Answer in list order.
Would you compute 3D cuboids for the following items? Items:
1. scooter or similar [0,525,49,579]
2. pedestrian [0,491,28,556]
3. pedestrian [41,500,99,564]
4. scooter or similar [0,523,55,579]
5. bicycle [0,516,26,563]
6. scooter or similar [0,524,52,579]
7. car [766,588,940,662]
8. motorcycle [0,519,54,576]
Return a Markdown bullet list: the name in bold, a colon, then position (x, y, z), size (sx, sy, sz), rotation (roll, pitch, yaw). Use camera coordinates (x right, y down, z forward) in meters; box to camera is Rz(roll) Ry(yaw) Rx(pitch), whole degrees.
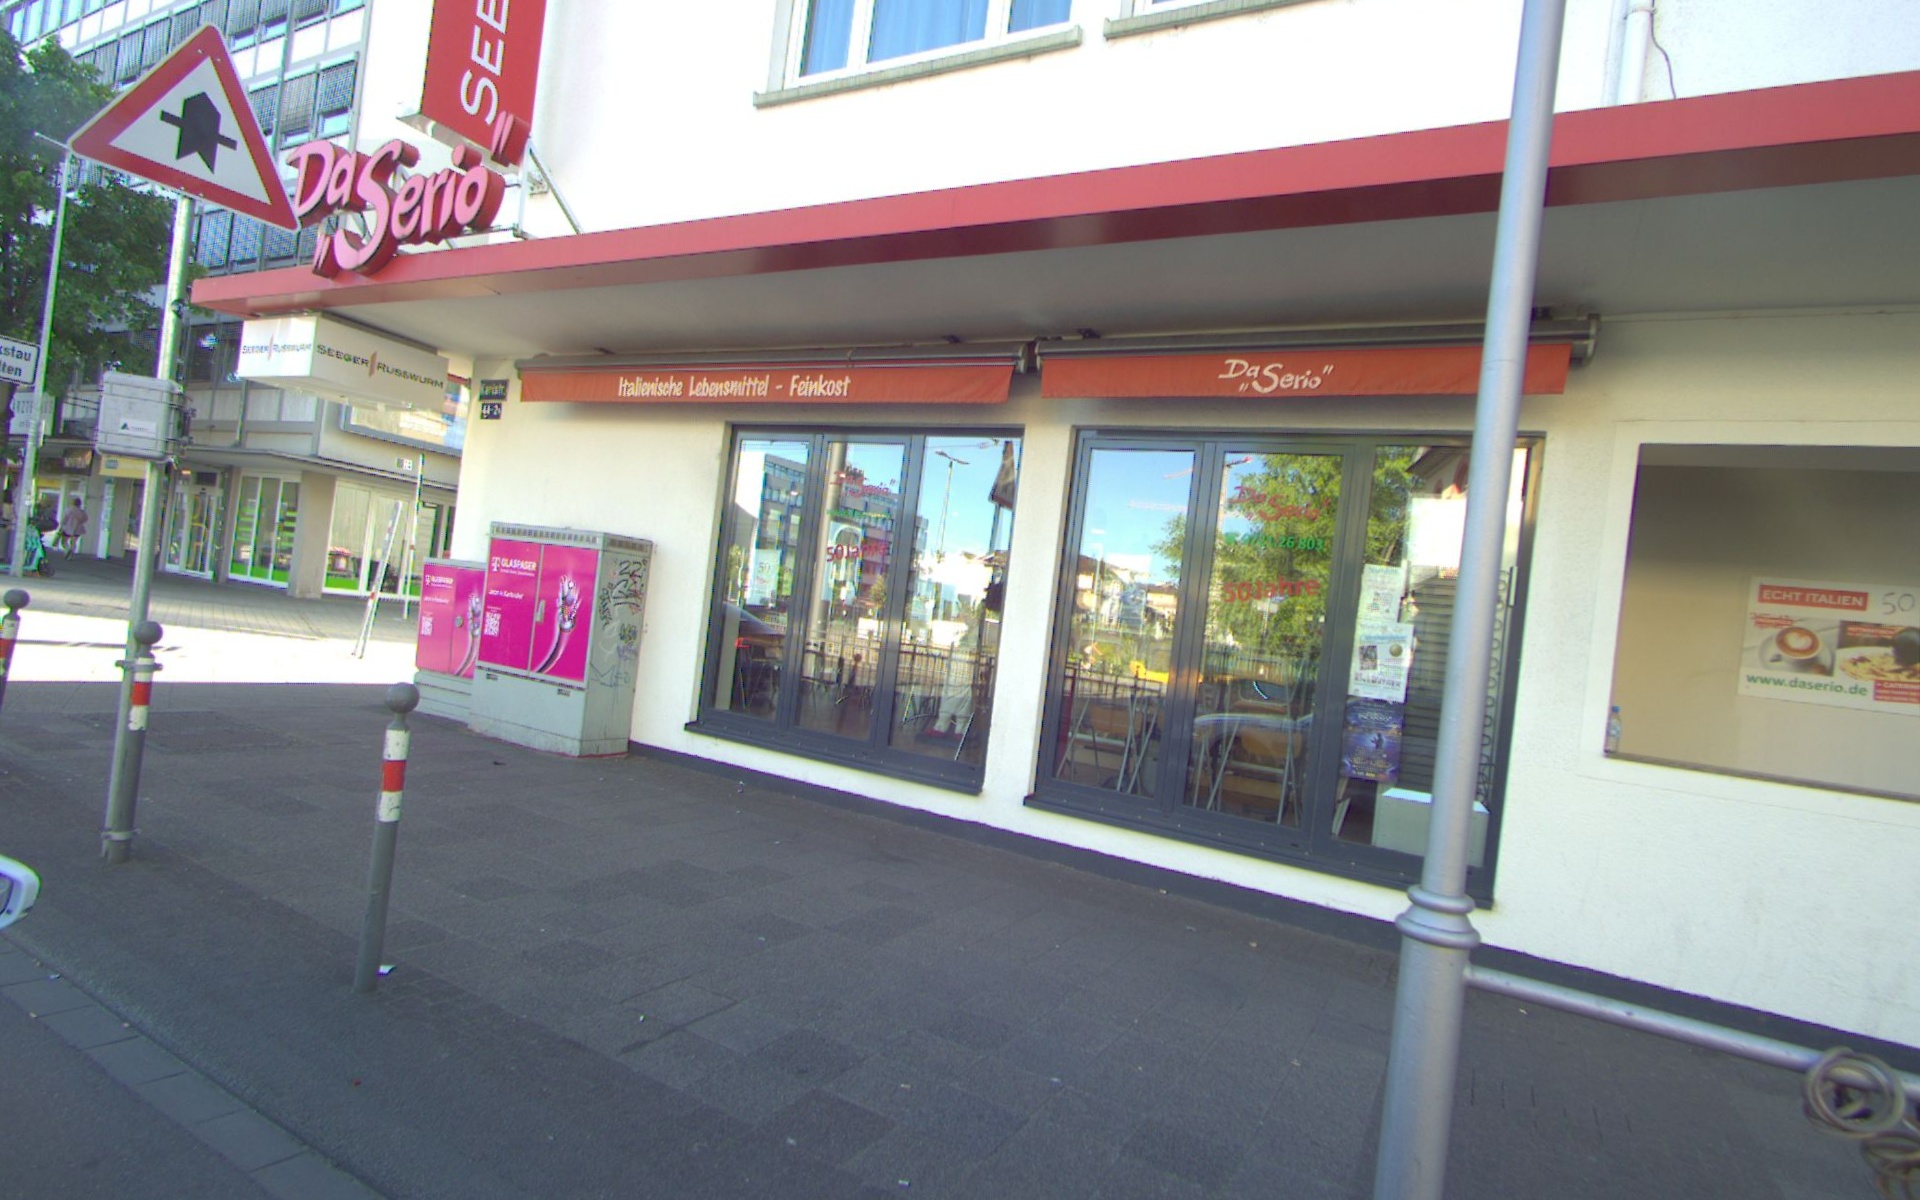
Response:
- **scooter or similar**: position (-19.944, -1.028, 21.237), size (0.157, 1.039, 0.964), rotation (7, -1, 34)
- **pedestrian**: position (-26.621, -2.149, 27.845), size (0.865, 1.727, 0.844), rotation (6, -1, 31)
- **pedestrian**: position (-24.611, -1.877, 27.829), size (0.865, 1.621, 0.844), rotation (6, -1, 31)
- **scooter or similar**: position (-19.618, -1.017, 21.017), size (0.157, 1.056, 0.964), rotation (7, -1, 34)
- **bicycle**: position (-23.114, -1.483, 23.487), size (0.392, 1.069, 1.856), rotation (7, 0, 21)
- **scooter or similar**: position (-19.781, -1.021, 21.126), size (0.157, 1.051, 0.957), rotation (7, -1, 34)
- **car**: position (-3.122, 0.773, 29.969), size (4.790, 1.450, 1.861), rotation (9, 1, -38)
- **motorcycle**: position (-21.443, -1.227, 22.341), size (0.495, 1.142, 1.791), rotation (6, -2, 29)
